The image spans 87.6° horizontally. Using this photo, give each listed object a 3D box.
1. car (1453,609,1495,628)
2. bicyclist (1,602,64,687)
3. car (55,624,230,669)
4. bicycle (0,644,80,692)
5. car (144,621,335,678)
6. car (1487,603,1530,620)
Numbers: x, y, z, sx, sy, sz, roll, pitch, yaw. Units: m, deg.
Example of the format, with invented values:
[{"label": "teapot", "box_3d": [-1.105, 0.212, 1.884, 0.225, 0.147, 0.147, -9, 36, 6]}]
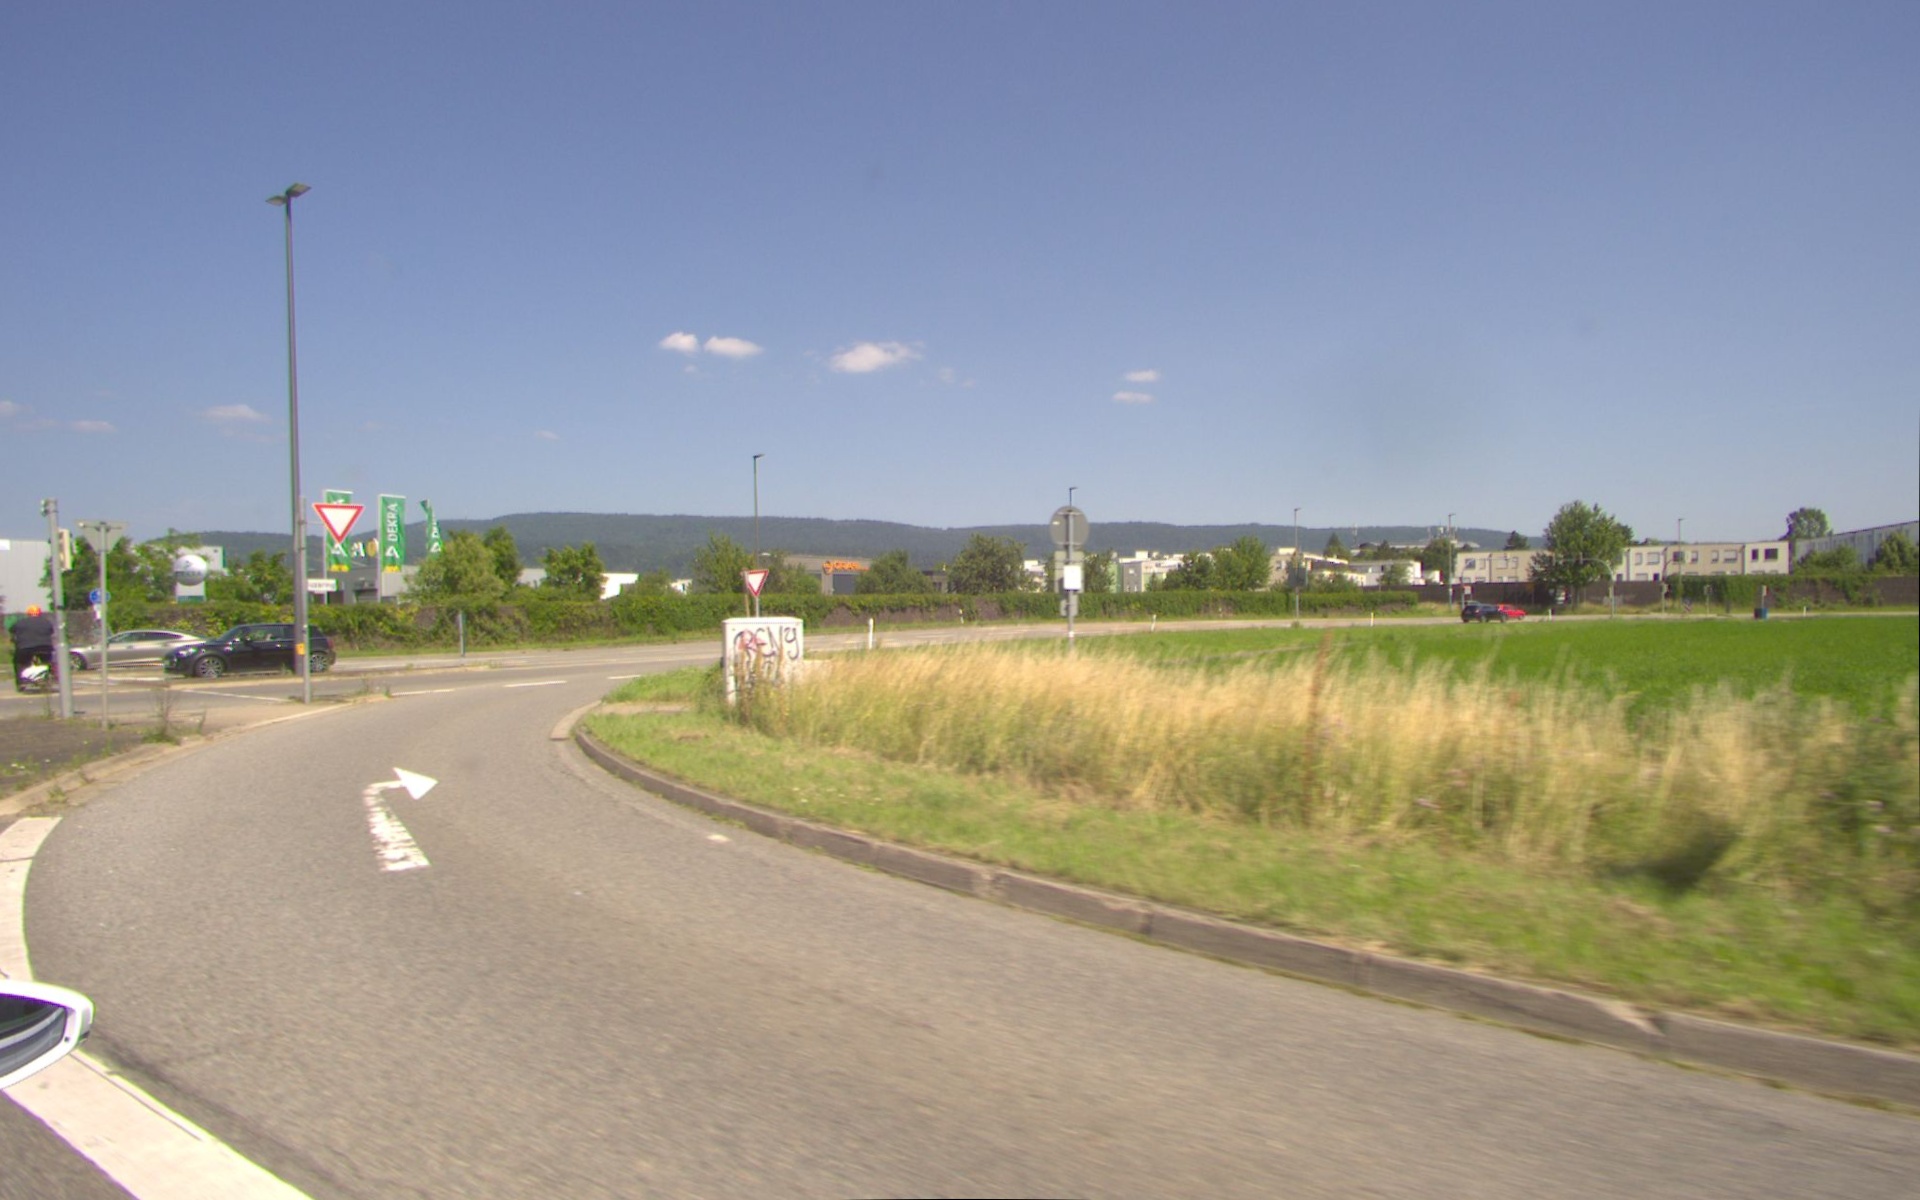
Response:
[{"label": "car", "box_3d": [45.321, 1.625, 88.304, 4.294, 1.638, 1.981, 0, 0, -43]}, {"label": "bicyclist", "box_3d": [-20.080, 0.936, 21.687, 0.797, 1.795, 0.800, 0, 1, 32]}, {"label": "car", "box_3d": [-27.141, 1.513, 33.448, 4.318, 1.344, 1.795, 0, 0, -33]}, {"label": "bicycle", "box_3d": [-20.077, 1.447, 21.691, 2.739, 0.927, 0.760, -1, 0, 32]}, {"label": "car", "box_3d": [-19.563, 1.294, 27.288, 1.787, 1.344, 3.964, 0, 0, 43]}, {"label": "car", "box_3d": [51.806, 1.072, 94.537, 3.941, 1.567, 1.766, 0, 0, -29]}]
